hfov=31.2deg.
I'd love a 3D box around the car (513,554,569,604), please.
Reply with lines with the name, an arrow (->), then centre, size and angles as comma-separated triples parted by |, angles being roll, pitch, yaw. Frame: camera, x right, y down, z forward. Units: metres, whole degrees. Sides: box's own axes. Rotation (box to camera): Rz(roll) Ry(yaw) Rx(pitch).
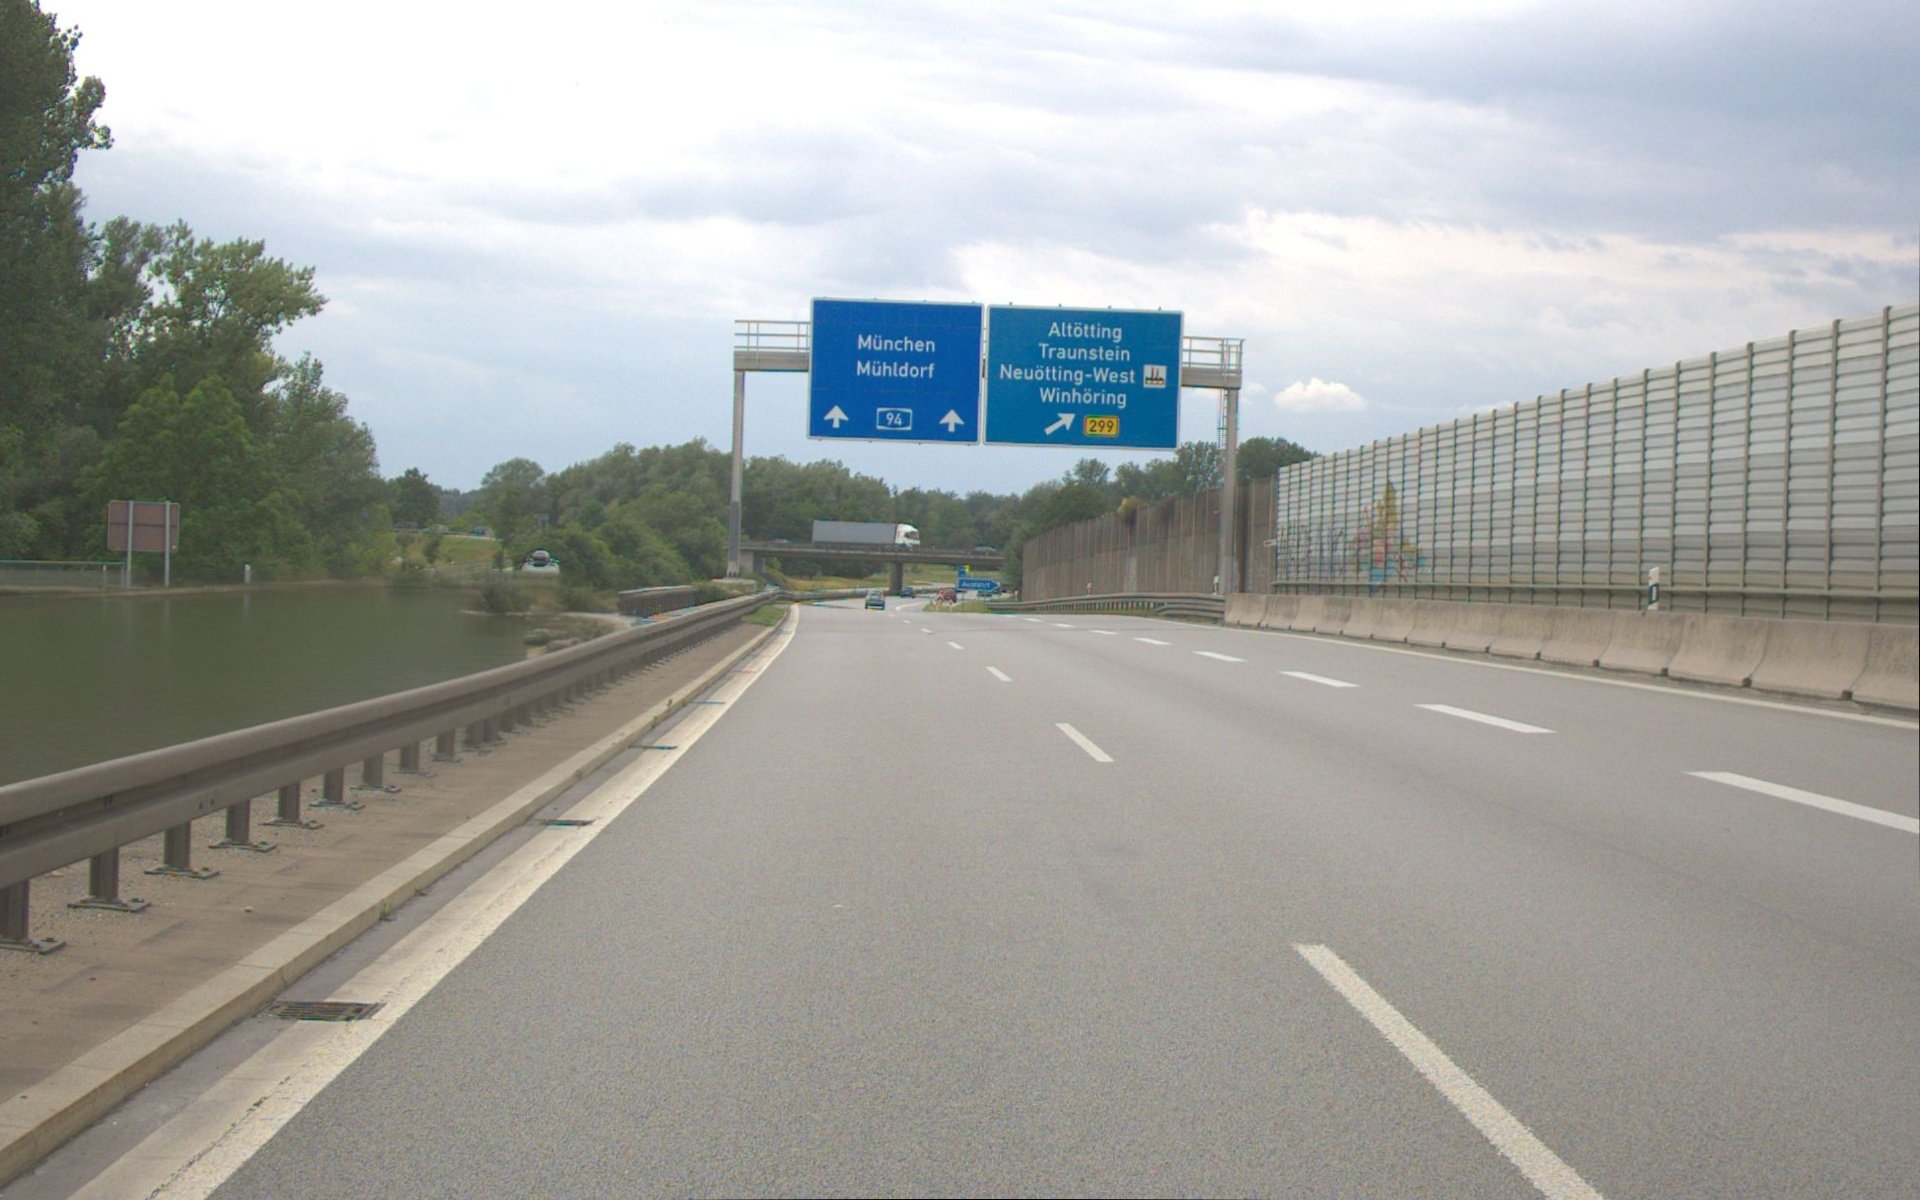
car -> -17.337, -0.865, 142.394 | 1.993, 1.996, 4.744 | 1, 0, -3
